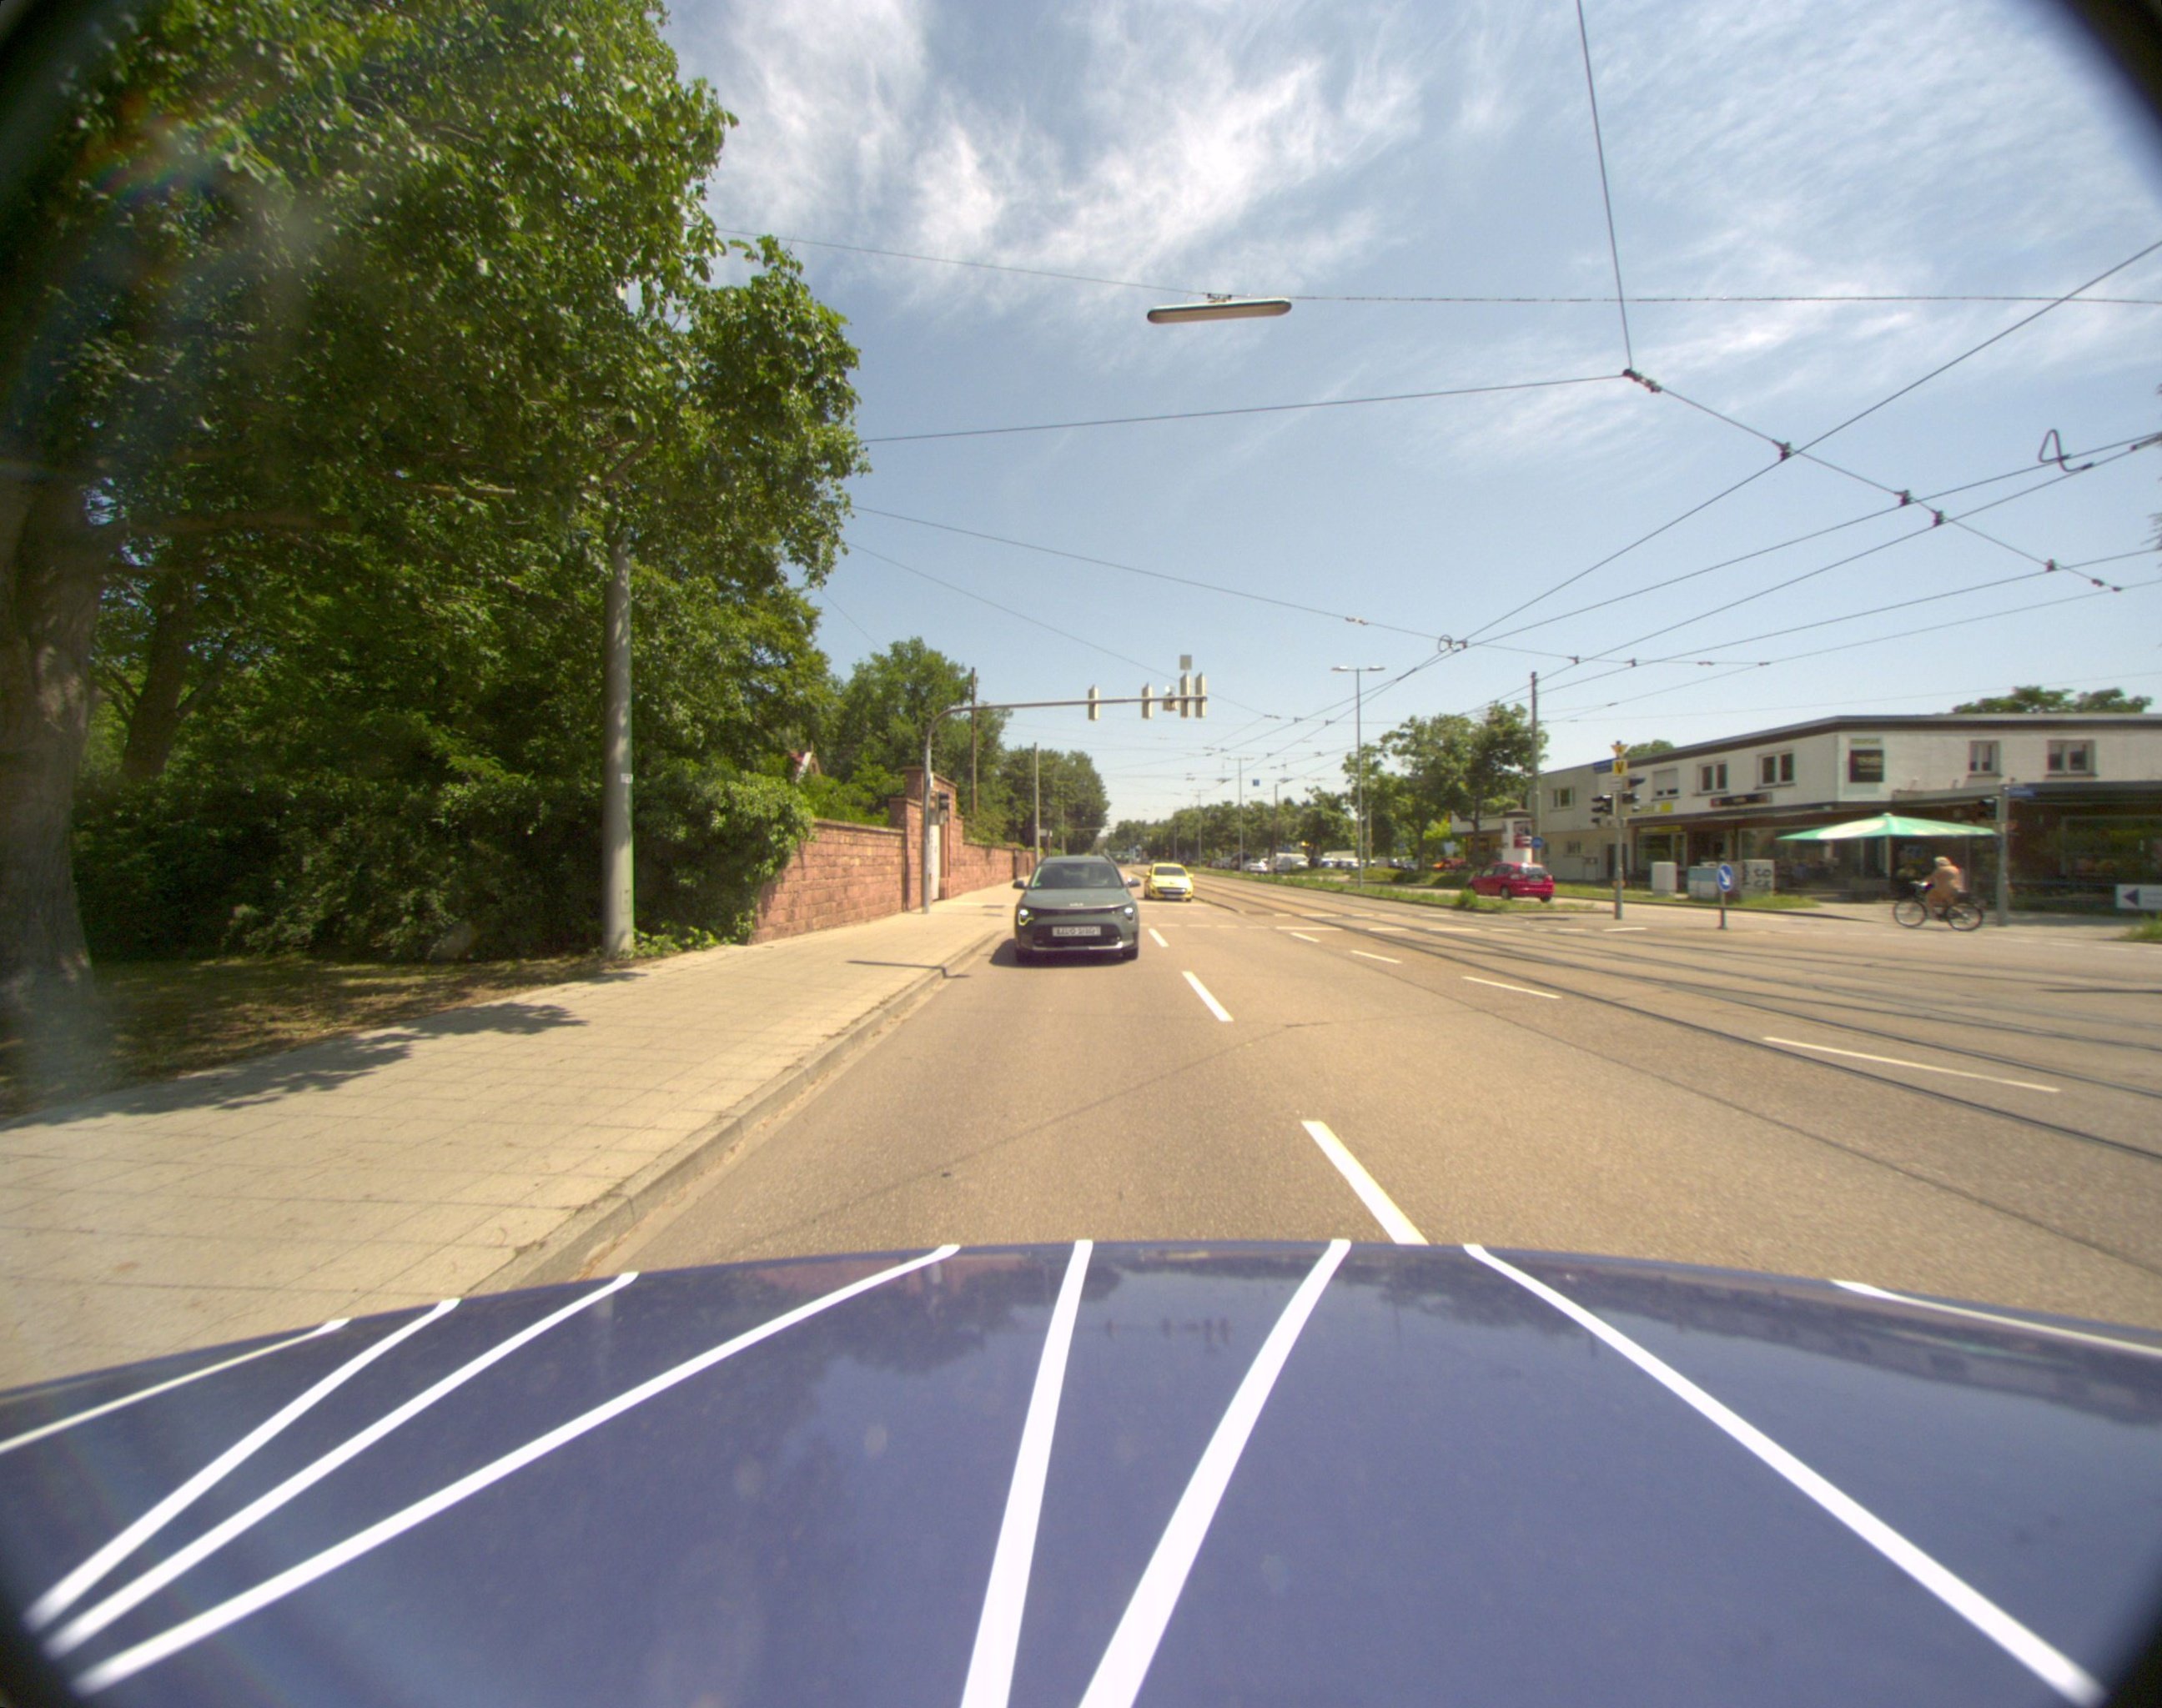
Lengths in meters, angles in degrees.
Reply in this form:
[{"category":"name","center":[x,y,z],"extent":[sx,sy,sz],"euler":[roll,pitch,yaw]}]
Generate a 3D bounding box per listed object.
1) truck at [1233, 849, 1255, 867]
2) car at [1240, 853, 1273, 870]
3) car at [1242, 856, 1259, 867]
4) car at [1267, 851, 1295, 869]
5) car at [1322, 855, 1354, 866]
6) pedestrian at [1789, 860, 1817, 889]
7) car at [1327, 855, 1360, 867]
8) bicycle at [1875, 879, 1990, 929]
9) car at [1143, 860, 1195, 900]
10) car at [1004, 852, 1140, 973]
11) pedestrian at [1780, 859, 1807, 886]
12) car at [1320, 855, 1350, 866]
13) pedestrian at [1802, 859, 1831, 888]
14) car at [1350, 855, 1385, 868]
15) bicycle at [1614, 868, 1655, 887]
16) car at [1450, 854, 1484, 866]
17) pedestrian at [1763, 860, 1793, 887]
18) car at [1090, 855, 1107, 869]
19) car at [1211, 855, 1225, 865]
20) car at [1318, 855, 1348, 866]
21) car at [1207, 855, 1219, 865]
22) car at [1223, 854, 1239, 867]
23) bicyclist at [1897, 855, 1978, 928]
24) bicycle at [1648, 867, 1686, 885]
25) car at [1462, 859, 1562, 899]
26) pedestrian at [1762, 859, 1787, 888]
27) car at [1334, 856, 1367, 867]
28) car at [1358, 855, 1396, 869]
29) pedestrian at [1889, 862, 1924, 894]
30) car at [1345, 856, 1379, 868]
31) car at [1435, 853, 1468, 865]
[{"category":"truck","center":[22.738,0.552,106.210],"extent":[2.225,2.526,4.930],"euler":[0,0,2]},{"category":"car","center":[16.860,0.724,73.051],"extent":[1.999,1.543,4.138],"euler":[2,0,-2]},{"category":"car","center":[22.331,0.950,100.112],"extent":[1.674,1.378,3.670],"euler":[0,0,4]},{"category":"car","center":[21.942,0.643,83.484],"extent":[1.998,1.872,4.662],"euler":[0,0,2]},{"category":"car","center":[32.310,0.848,95.643],"extent":[3.414,1.385,1.603],"euler":[0,0,-3]},{"category":"pedestrian","center":[29.820,0.828,31.404],"extent":[0.518,1.192,0.674],"euler":[0,0,2]},{"category":"car","center":[32.313,0.867,93.549],"extent":[3.414,1.385,1.603],"euler":[0,0,-3]},{"category":"bicycle","center":[21.057,1.209,18.848],"extent":[0.696,1.142,1.932],"euler":[0,-1,1]},{"category":"car","center":[3.403,0.976,29.821],"extent":[1.620,1.412,3.656],"euler":[2,0,1]},{"category":"car","center":[-0.041,0.803,12.454],"extent":[1.789,1.561,4.184],"euler":[-2,0,2]},{"category":"pedestrian","center":[30.620,0.786,32.658],"extent":[0.518,1.157,0.674],"euler":[0,0,2]},{"category":"car","center":[32.905,0.838,98.526],"extent":[3.414,1.385,1.603],"euler":[0,0,-3]},{"category":"pedestrian","center":[30.401,0.790,31.408],"extent":[0.518,1.202,0.674],"euler":[0,0,2]},{"category":"car","center":[32.225,0.867,85.500],"extent":[3.414,1.482,1.598],"euler":[0,0,-3]},{"category":"bicycle","center":[27.106,1.160,37.253],"extent":[0.603,0.843,1.959],"euler":[-2,0,2]},{"category":"car","center":[46.732,0.734,92.088],"extent":[3.355,1.450,1.506],"euler":[0,0,-1]},{"category":"pedestrian","center":[29.872,0.819,32.575],"extent":[0.566,1.121,0.810],"euler":[0,0,2]},{"category":"car","center":[2.174,0.934,92.344],"extent":[1.998,1.652,4.000],"euler":[0,0,2]},{"category":"car","center":[23.518,1.040,130.211],"extent":[1.681,1.783,4.203],"euler":[0,0,1]},{"category":"car","center":[33.549,0.831,101.176],"extent":[3.414,1.497,1.603],"euler":[0,0,-3]},{"category":"car","center":[23.753,1.036,136.788],"extent":[1.681,1.693,3.824],"euler":[0,0,1]},{"category":"car","center":[23.633,0.954,119.658],"extent":[1.681,1.963,4.510],"euler":[0,0,1]},{"category":"bicyclist","center":[21.050,0.902,18.703],"extent":[0.696,1.755,1.137],"euler":[0,-1,1]},{"category":"bicycle","center":[28.880,1.080,37.464],"extent":[0.529,0.843,1.787],"euler":[-2,0,2]},{"category":"car","center":[16.882,0.938,29.962],"extent":[1.628,1.475,3.828],"euler":[0,0,-3]},{"category":"pedestrian","center":[29.169,0.810,31.972],"extent":[0.576,1.231,0.491],"euler":[0,1,1]},{"category":"car","center":[32.000,0.887,90.271],"extent":[3.414,1.385,1.603],"euler":[0,0,-3]},{"category":"car","center":[32.371,0.855,83.224],"extent":[3.414,1.482,1.793],"euler":[0,0,-3]},{"category":"pedestrian","center":[29.376,0.835,27.044],"extent":[0.518,1.121,0.674],"euler":[0,0,2]},{"category":"car","center":[32.513,0.917,87.998],"extent":[3.414,1.385,1.603],"euler":[0,0,-3]},{"category":"car","center":[46.361,0.642,95.072],"extent":[3.355,1.552,1.506],"euler":[0,0,-1]}]
